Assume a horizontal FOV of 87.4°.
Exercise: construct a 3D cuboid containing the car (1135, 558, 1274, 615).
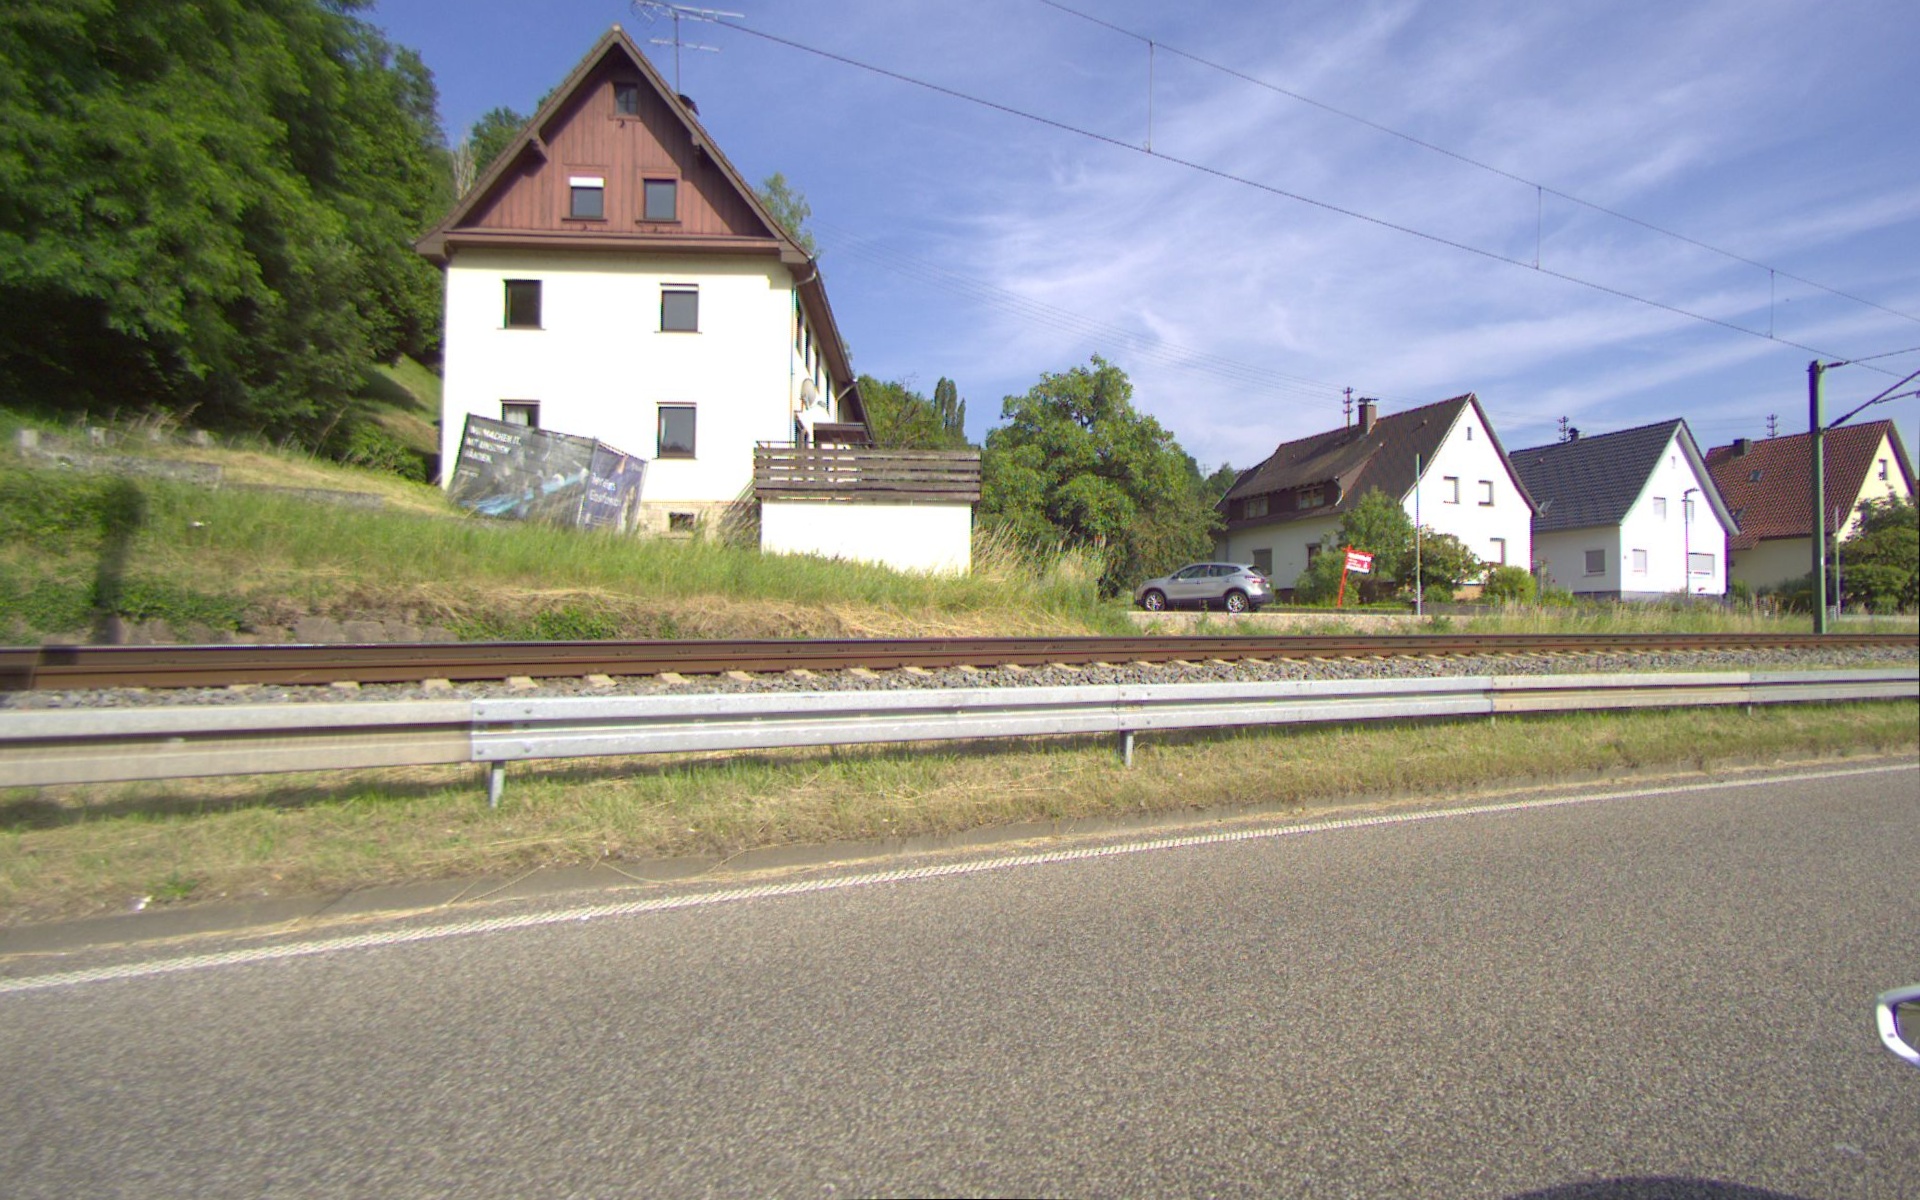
[{"bbox_3d":[7.670,-0.420,31.587,3.954,1.697,1.646,0,2,29],"label":"car"}]
